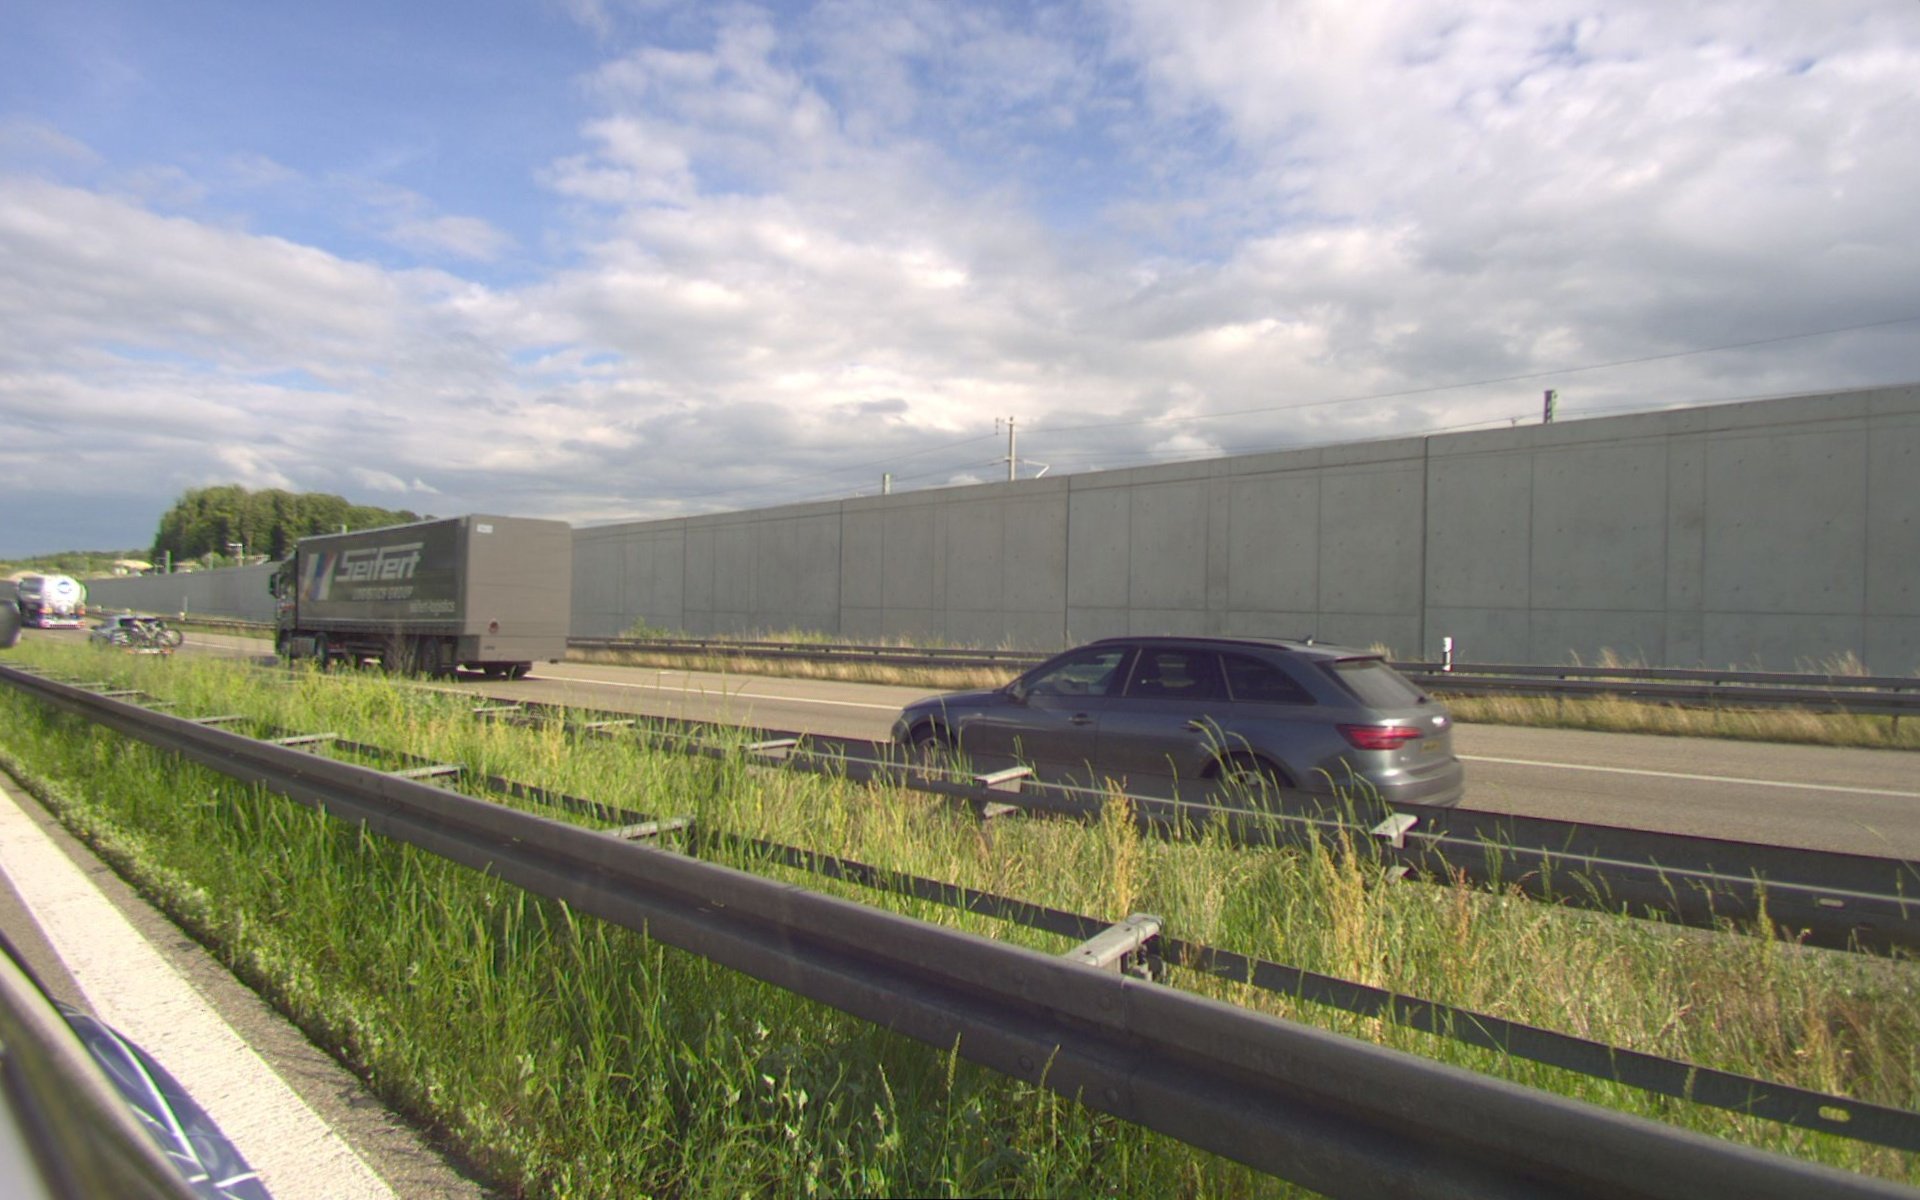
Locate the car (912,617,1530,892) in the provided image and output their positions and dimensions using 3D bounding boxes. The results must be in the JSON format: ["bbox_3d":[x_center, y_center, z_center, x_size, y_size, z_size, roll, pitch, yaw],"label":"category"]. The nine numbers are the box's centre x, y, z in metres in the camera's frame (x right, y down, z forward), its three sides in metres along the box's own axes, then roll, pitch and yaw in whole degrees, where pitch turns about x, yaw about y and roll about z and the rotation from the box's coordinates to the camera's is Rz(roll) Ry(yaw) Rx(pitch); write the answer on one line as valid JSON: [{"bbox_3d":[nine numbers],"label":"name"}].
[{"bbox_3d":[1.787,0.894,7.726,4.182,1.475,1.882,-1,0,41],"label":"car"}]

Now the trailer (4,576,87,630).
[{"bbox_3d":[-68.595,0.276,75.776,12.525,3.799,2.516,0,-2,39],"label":"trailer"}]

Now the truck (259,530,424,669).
[{"bbox_3d":[-20.397,0.010,33.204,6.951,4.121,2.725,-1,-1,42],"label":"truck"}]

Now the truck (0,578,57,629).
[{"bbox_3d":[-73.127,0.329,79.355,5.411,3.827,2.528,0,-2,39],"label":"truck"}]

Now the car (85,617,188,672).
[{"bbox_3d":[-27.474,1.419,33.703,5.109,1.644,1.868,-1,0,42],"label":"car"}]

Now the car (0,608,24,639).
[{"bbox_3d":[-60.372,1.427,63.431,4.786,1.898,1.972,-1,-3,42],"label":"car"}]

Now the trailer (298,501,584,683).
[{"bbox_3d":[-15.011,-0.129,28.355,12.900,4.146,2.730,-1,-1,42],"label":"trailer"}]
